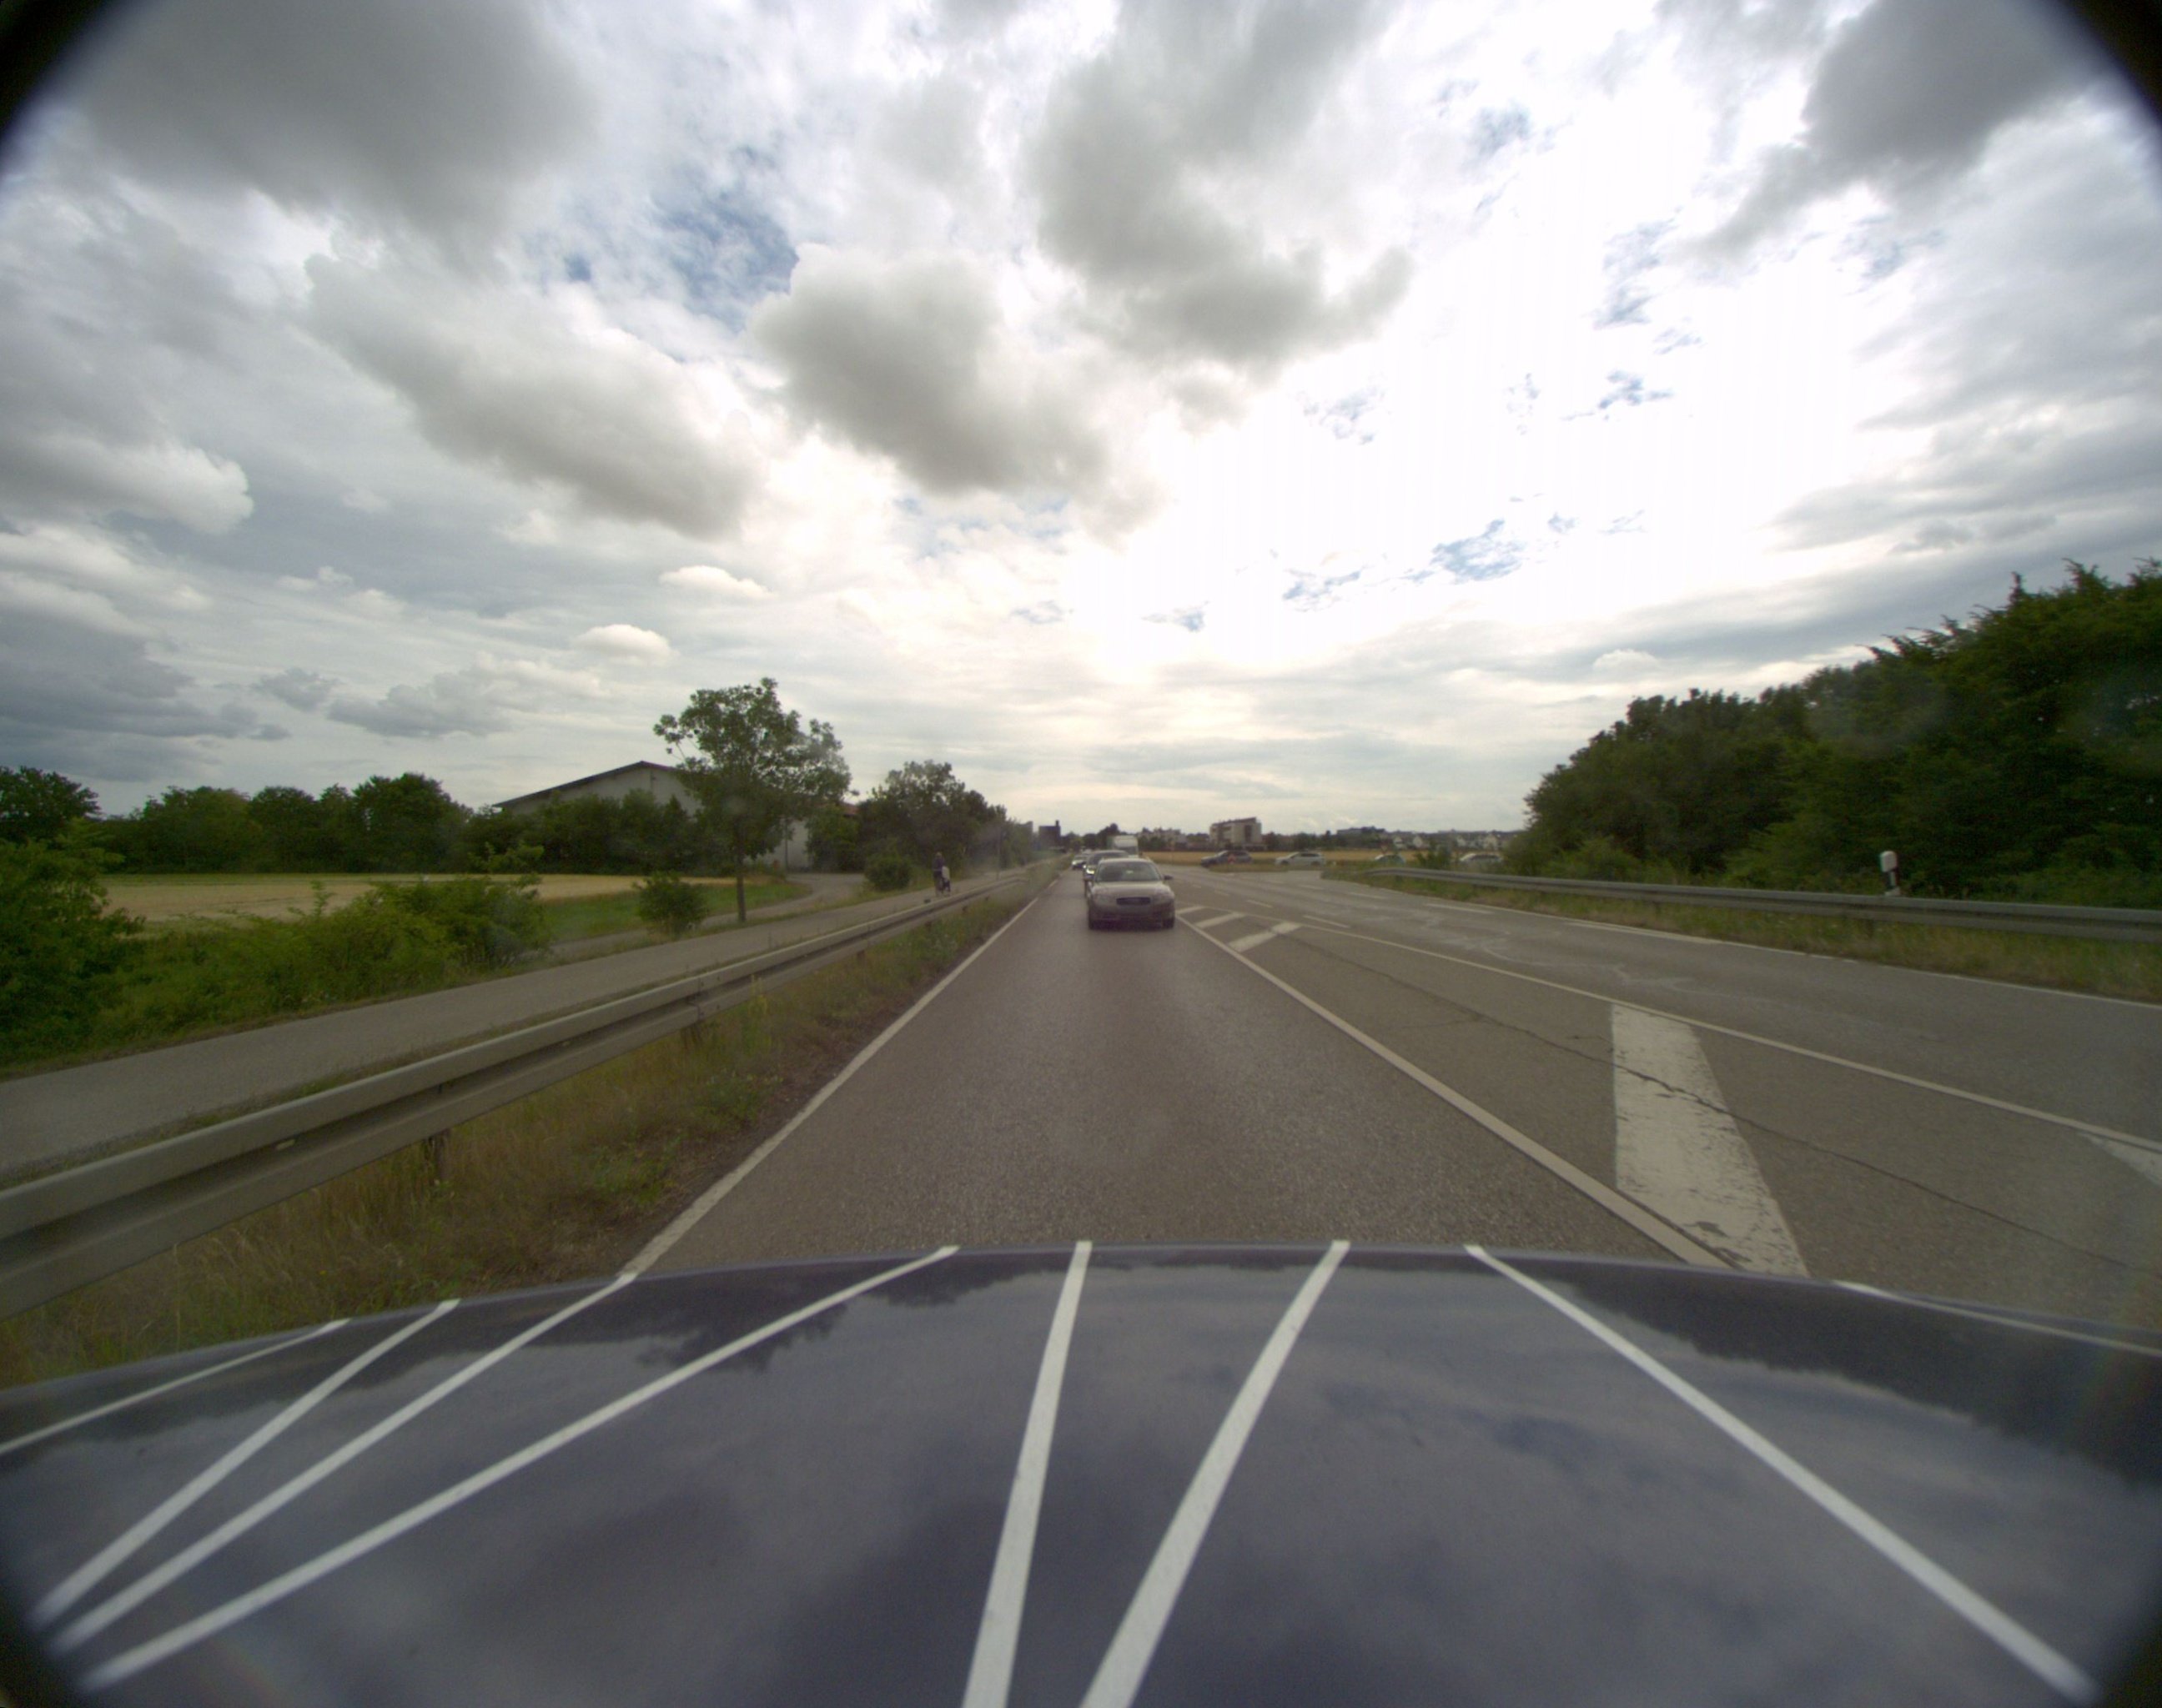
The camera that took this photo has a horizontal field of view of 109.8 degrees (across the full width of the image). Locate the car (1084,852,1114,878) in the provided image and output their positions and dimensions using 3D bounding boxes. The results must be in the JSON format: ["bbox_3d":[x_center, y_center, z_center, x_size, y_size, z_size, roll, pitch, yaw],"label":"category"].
[{"bbox_3d":[1.095,0.671,47.945,1.730,1.478,4.204,-2,0,0],"label":"car"}]

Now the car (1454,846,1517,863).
[{"bbox_3d":[36.647,0.063,68.929,4.673,1.490,2.001,-1,1,7],"label":"car"}]

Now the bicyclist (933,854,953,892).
[{"bbox_3d":[-5.857,0.784,32.198,0.640,1.573,0.969,-1,1,1],"label":"bicyclist"}]

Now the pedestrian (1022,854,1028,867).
[{"bbox_3d":[-6.405,0.712,87.177,0.591,1.512,0.501,-2,1,7],"label":"pedestrian"}]

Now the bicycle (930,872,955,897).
[{"bbox_3d":[-5.854,1.273,32.226,0.640,0.972,2.072,-1,1,1],"label":"bicycle"}]

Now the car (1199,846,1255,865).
[{"bbox_3d":[13.674,0.169,71.159,4.815,1.680,1.999,-1,1,-2],"label":"car"}]

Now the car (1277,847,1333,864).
[{"bbox_3d":[20.816,0.140,70.772,4.673,1.490,2.001,-1,1,7],"label":"car"}]

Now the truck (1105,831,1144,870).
[{"bbox_3d":[4.197,-0.335,74.593,2.932,3.541,7.602,-2,1,-3],"label":"truck"}]

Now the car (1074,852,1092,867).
[{"bbox_3d":[0.220,0.547,75.451,1.730,1.436,4.204,-2,0,0],"label":"car"}]

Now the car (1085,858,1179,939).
[{"bbox_3d":[0.977,0.859,16.470,1.730,1.436,4.204,-1,0,0],"label":"car"}]

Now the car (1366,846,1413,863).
[{"bbox_3d":[28.298,0.029,69.719,3.714,1.490,1.731,-1,1,7],"label":"car"}]

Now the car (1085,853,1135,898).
[{"bbox_3d":[1.026,0.756,28.799,1.730,1.534,4.204,-1,0,0],"label":"car"}]
